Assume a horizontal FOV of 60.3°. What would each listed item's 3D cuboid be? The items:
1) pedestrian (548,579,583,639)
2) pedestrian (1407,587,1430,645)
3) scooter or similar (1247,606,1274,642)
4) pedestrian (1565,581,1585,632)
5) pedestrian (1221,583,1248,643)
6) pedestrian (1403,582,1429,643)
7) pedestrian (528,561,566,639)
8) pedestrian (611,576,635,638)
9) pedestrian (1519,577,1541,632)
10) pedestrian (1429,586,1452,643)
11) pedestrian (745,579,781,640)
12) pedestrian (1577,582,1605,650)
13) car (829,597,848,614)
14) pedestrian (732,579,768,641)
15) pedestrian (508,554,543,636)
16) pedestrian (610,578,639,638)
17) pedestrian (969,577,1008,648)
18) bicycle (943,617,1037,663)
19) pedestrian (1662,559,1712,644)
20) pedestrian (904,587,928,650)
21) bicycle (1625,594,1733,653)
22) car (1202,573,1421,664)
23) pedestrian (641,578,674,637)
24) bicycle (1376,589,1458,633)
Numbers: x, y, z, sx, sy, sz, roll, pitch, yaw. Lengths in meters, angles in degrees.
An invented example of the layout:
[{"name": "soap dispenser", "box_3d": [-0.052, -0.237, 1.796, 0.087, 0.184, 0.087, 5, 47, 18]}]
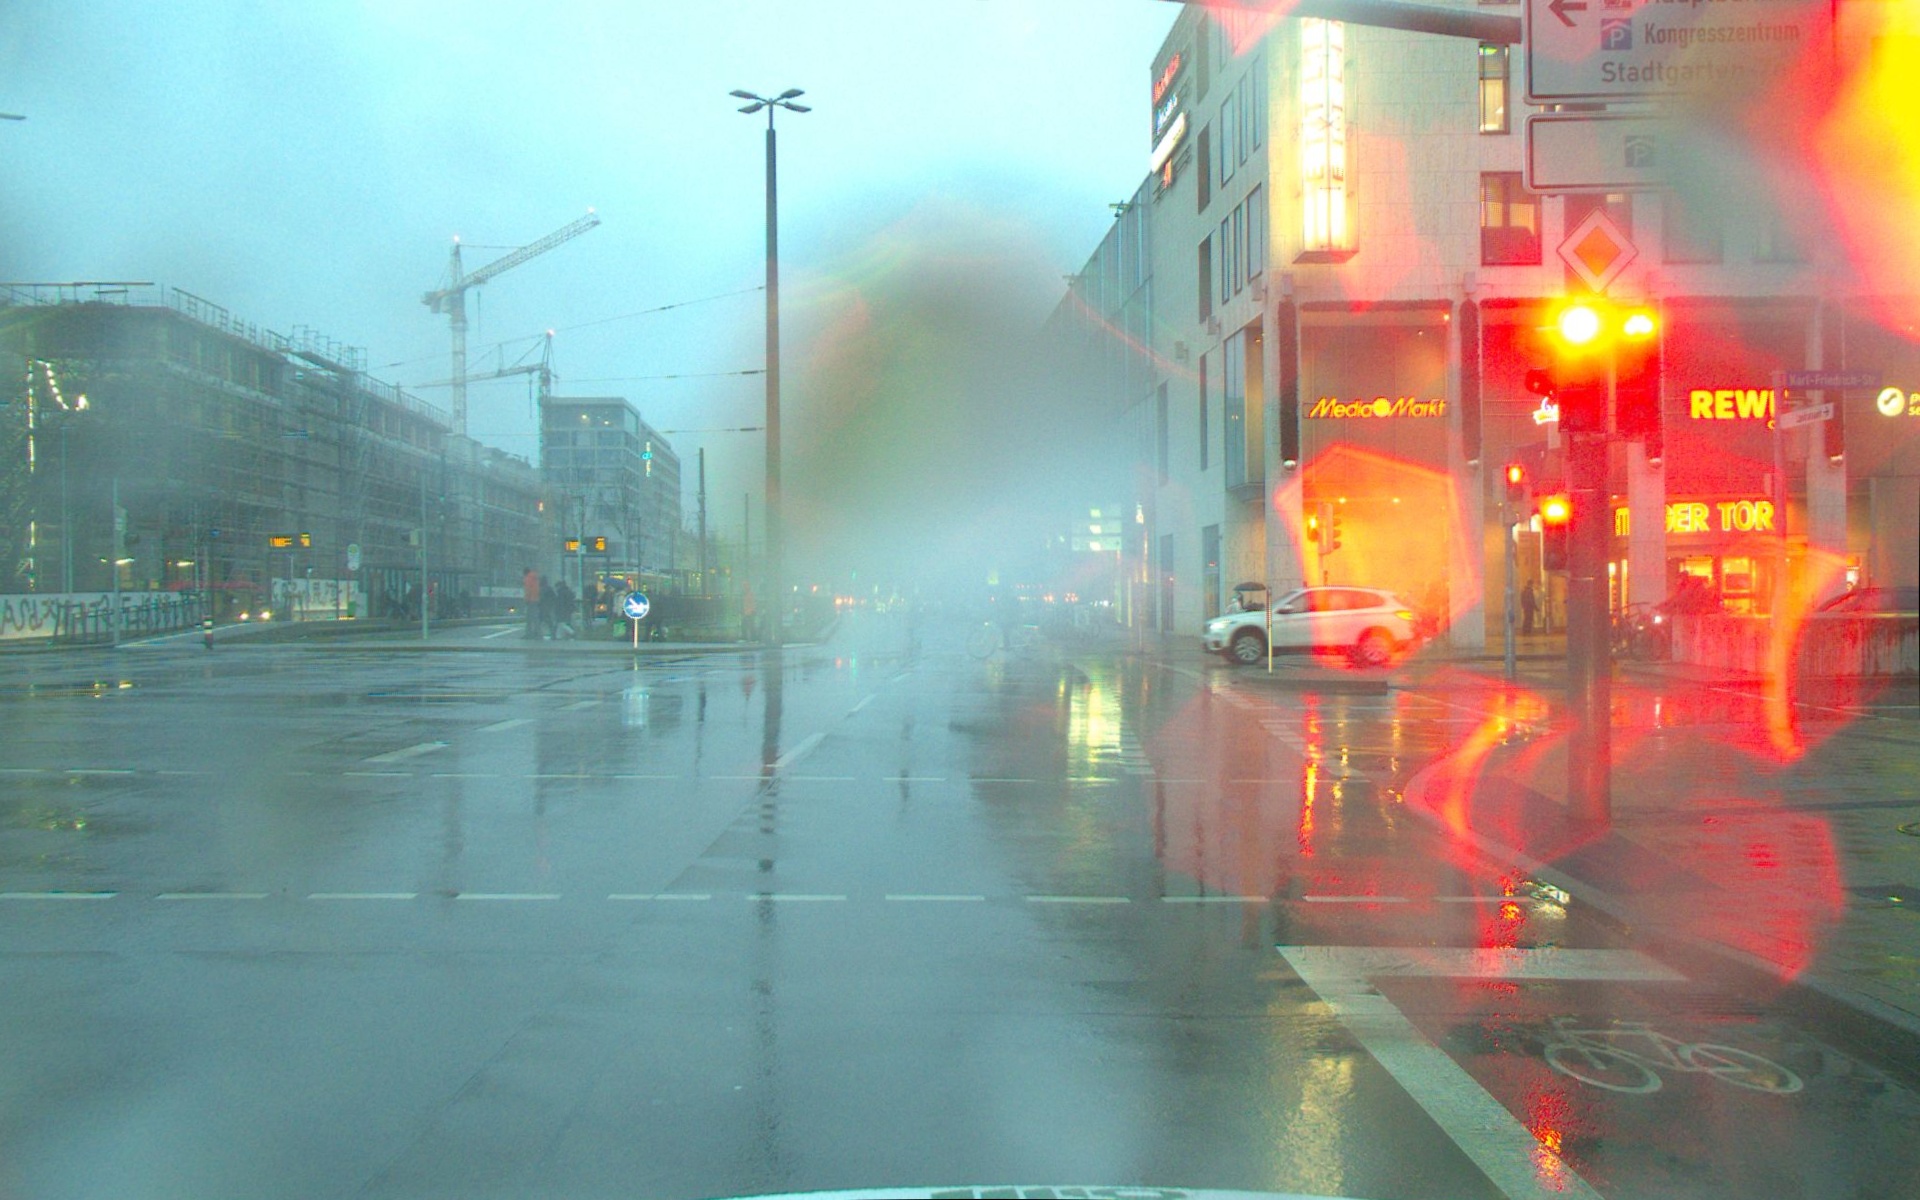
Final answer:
[{"name": "pedestrian", "box_3d": [-10.993, 0.258, 46.110, 0.668, 1.647, 0.704, -1, 0, 43]}, {"name": "pedestrian", "box_3d": [13.979, 0.480, 50.409, 0.526, 1.748, 0.500, -1, 0, 37]}, {"name": "scooter or similar", "box_3d": [8.570, 0.691, 47.180, 0.725, 1.011, 0.401, -1, 0, 6]}, {"name": "pedestrian", "box_3d": [21.033, 0.228, 56.558, 0.526, 1.748, 0.500, -1, 0, 37]}, {"name": "pedestrian", "box_3d": [7.839, 0.380, 47.249, 0.725, 1.696, 0.401, -1, 0, 6]}, {"name": "pedestrian", "box_3d": [13.482, 0.373, 48.905, 0.605, 1.791, 0.482, -1, 0, -1]}, {"name": "pedestrian", "box_3d": [-10.960, -0.013, 43.875, 0.770, 2.049, 0.604, -1, 0, -39]}, {"name": "pedestrian", "box_3d": [-9.711, 0.201, 47.660, 0.607, 1.776, 0.612, -1, 0, -6]}, {"name": "pedestrian", "box_3d": [18.309, 0.141, 53.143, 0.526, 1.748, 0.500, -1, 0, 37]}, {"name": "pedestrian", "box_3d": [14.640, 0.440, 50.373, 0.526, 1.748, 0.500, -1, 0, 37]}, {"name": "pedestrian", "box_3d": [-5.624, 0.270, 47.162, 0.825, 1.718, 0.678, -1, 0, 11]}, {"name": "pedestrian", "box_3d": [16.073, 0.407, 42.130, 0.526, 1.715, 0.547, -1, 0, 37]}, {"name": "car", "box_3d": [-13.784, 0.654, 187.811, 1.850, 1.814, 3.713, 1, -1, -1]}, {"name": "pedestrian", "box_3d": [-5.891, 0.273, 46.457, 0.813, 1.709, 0.620, -1, 0, 13]}, {"name": "pedestrian", "box_3d": [-11.315, -0.126, 43.088, 0.682, 2.124, 0.604, 0, 0, -41]}, {"name": "pedestrian", "box_3d": [-9.385, 0.222, 46.247, 0.692, 1.647, 0.612, -1, 0, -3]}, {"name": "pedestrian", "box_3d": [0.650, 0.272, 37.784, 0.799, 1.597, 0.535, -1, 0, -9]}, {"name": "bicycle", "box_3d": [0.682, 0.915, 37.772, 2.089, 1.009, 0.540, 1, -1, -9]}, {"name": "pedestrian", "box_3d": [13.985, 0.027, 31.826, 0.764, 1.623, 0.613, -1, 0, 14]}, {"name": "pedestrian", "box_3d": [-1.271, 0.525, 47.913, 0.688, 1.791, 0.652, -1, 0, -1]}, {"name": "bicycle", "box_3d": [13.837, 0.457, 31.861, 1.806, 1.112, 0.618, -1, 0, 14]}, {"name": "car", "box_3d": [7.287, 0.374, 34.539, 4.214, 1.792, 1.707, -1, 0, 1]}, {"name": "pedestrian", "box_3d": [-8.519, 0.218, 46.618, 0.793, 1.635, 0.745, -1, 0, -1]}, {"name": "bicycle", "box_3d": [14.098, 0.334, 51.054, 2.378, 1.352, 0.634, 0, 0, -6]}]
